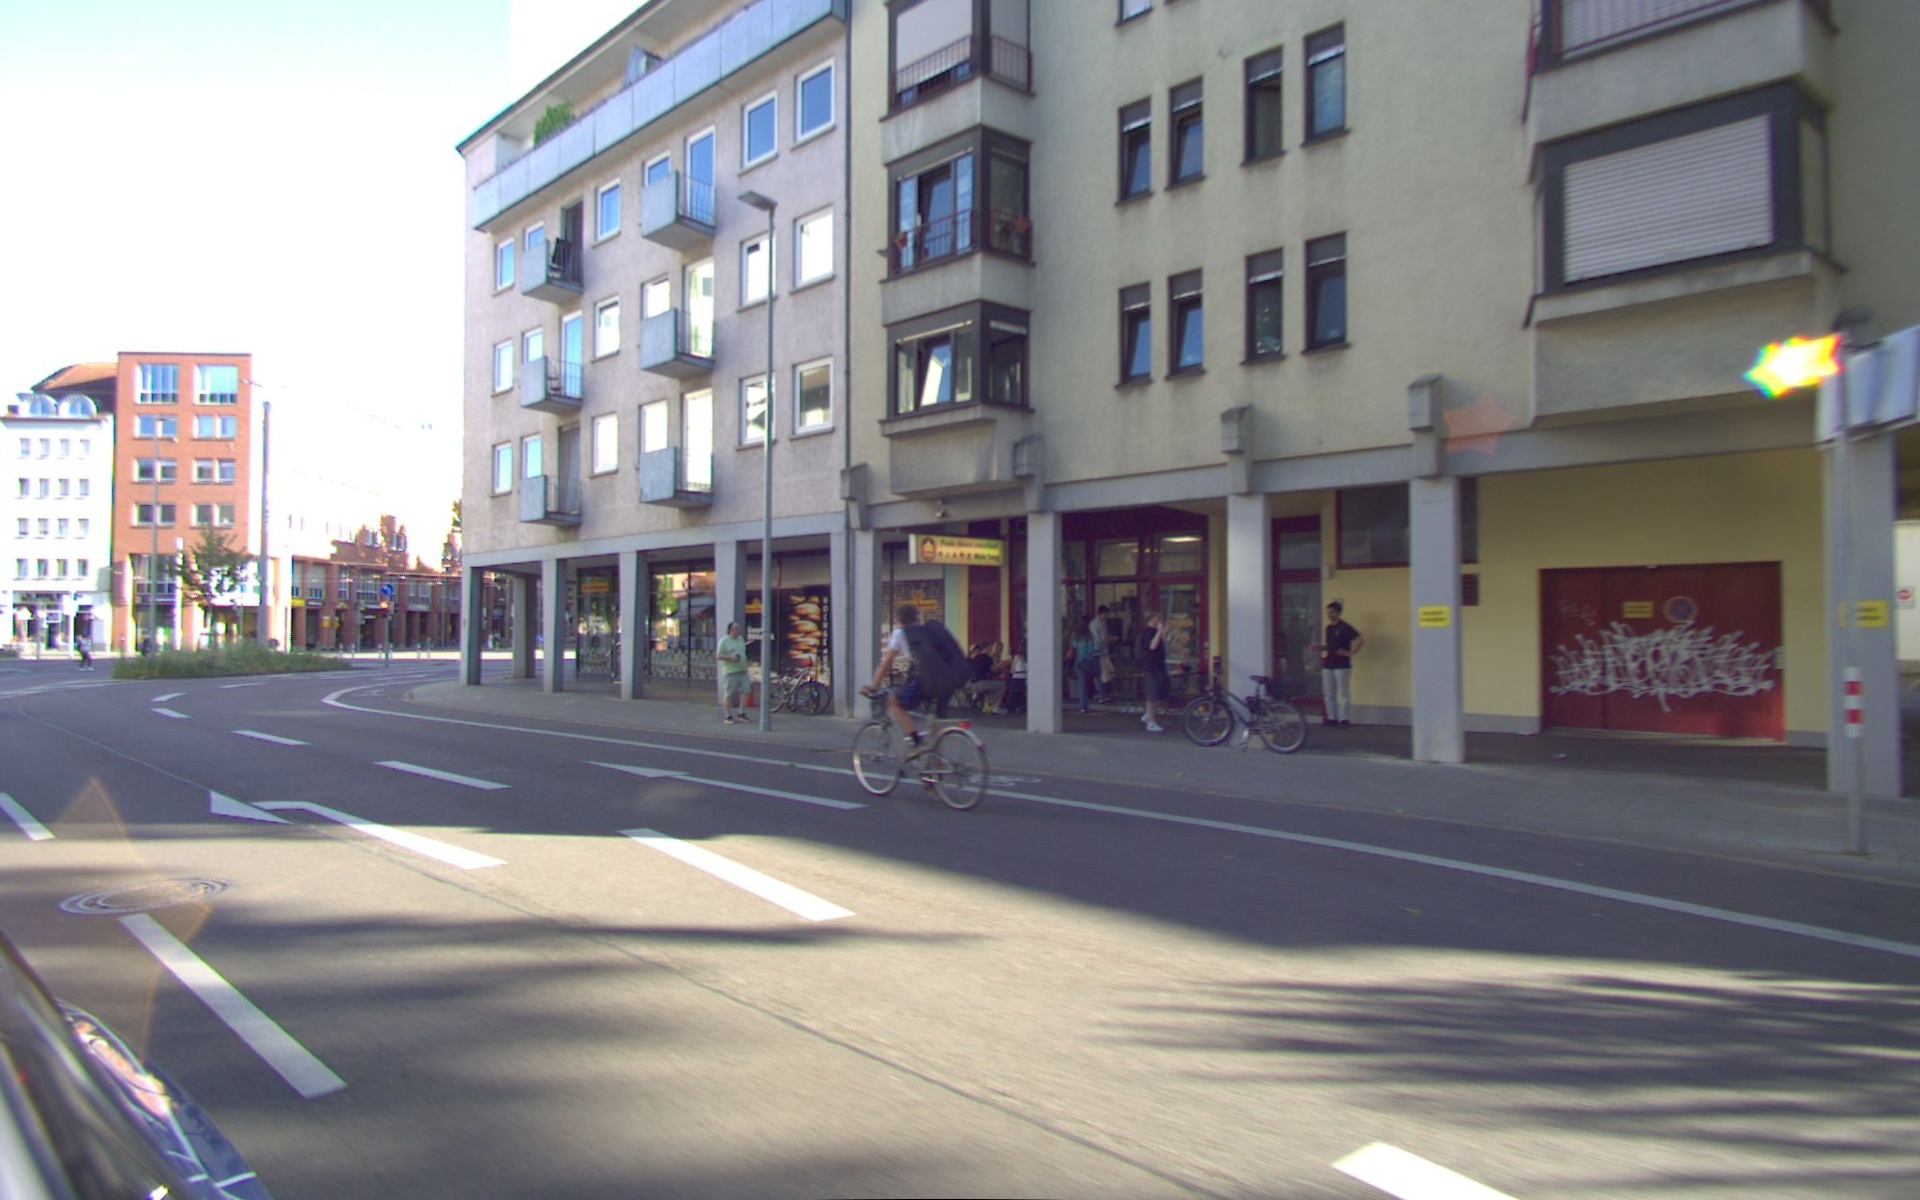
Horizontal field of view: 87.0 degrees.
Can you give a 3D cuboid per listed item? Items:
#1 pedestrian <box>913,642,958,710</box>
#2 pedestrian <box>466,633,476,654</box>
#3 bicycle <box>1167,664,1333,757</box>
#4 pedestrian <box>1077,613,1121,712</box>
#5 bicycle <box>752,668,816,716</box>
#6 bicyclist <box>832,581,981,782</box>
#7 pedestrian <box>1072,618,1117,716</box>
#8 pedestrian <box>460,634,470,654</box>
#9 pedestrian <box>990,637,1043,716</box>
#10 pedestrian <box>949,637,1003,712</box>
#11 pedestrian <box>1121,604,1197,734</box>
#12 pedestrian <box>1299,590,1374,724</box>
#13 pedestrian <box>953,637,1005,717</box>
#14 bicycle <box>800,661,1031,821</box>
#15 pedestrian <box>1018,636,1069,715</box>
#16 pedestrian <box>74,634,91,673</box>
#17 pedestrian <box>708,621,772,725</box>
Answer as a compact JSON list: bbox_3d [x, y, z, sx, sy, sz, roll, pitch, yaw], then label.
[{"bbox_3d":[-0.477,1.462,19.714,0.560,1.277,0.690,1,-2,-38],"label":"pedestrian"},{"bbox_3d":[-42.992,3.822,89.002,0.546,1.760,0.716,-1,-1,-6],"label":"pedestrian"},{"bbox_3d":[3.620,1.353,12.794,2.010,1.053,0.444,-2,-3,41],"label":"bicycle"},{"bbox_3d":[2.534,1.127,18.468,0.605,1.755,0.712,0,-1,-8],"label":"pedestrian"},{"bbox_3d":[-3.339,1.720,19.119,1.523,0.831,0.354,-3,-3,43],"label":"bicycle"},{"bbox_3d":[-0.484,0.695,9.026,1.167,1.654,0.721,-2,-3,42],"label":"bicyclist"},{"bbox_3d":[2.348,1.150,17.718,0.605,1.678,0.712,0,-1,-8],"label":"pedestrian"},{"bbox_3d":[-43.087,3.828,88.161,0.546,1.760,0.716,-1,-1,-6],"label":"pedestrian"},{"bbox_3d":[1.008,1.348,18.056,0.700,1.363,0.615,1,-2,-43],"label":"pedestrian"},{"bbox_3d":[0.300,1.373,18.967,0.701,1.346,0.740,1,-2,-44],"label":"pedestrian"},{"bbox_3d":[3.008,1.014,15.273,0.805,1.884,0.814,-1,-1,40],"label":"pedestrian"},{"bbox_3d":[5.513,0.809,14.822,0.604,1.884,0.798,0,-1,-32],"label":"pedestrian"},{"bbox_3d":[0.339,1.366,18.205,0.605,1.378,0.712,1,-2,-43],"label":"pedestrian"},{"bbox_3d":[-0.445,1.170,8.975,2.178,1.209,0.721,-2,-4,43],"label":"bicycle"},{"bbox_3d":[1.535,1.364,18.525,0.700,1.388,0.615,1,-2,-43],"label":"pedestrian"},{"bbox_3d":[-40.503,2.476,46.693,0.585,1.760,0.503,0,-1,-41],"label":"pedestrian"},{"bbox_3d":[-3.847,1.246,17.715,0.723,1.753,0.823,-2,-2,42],"label":"pedestrian"}]
